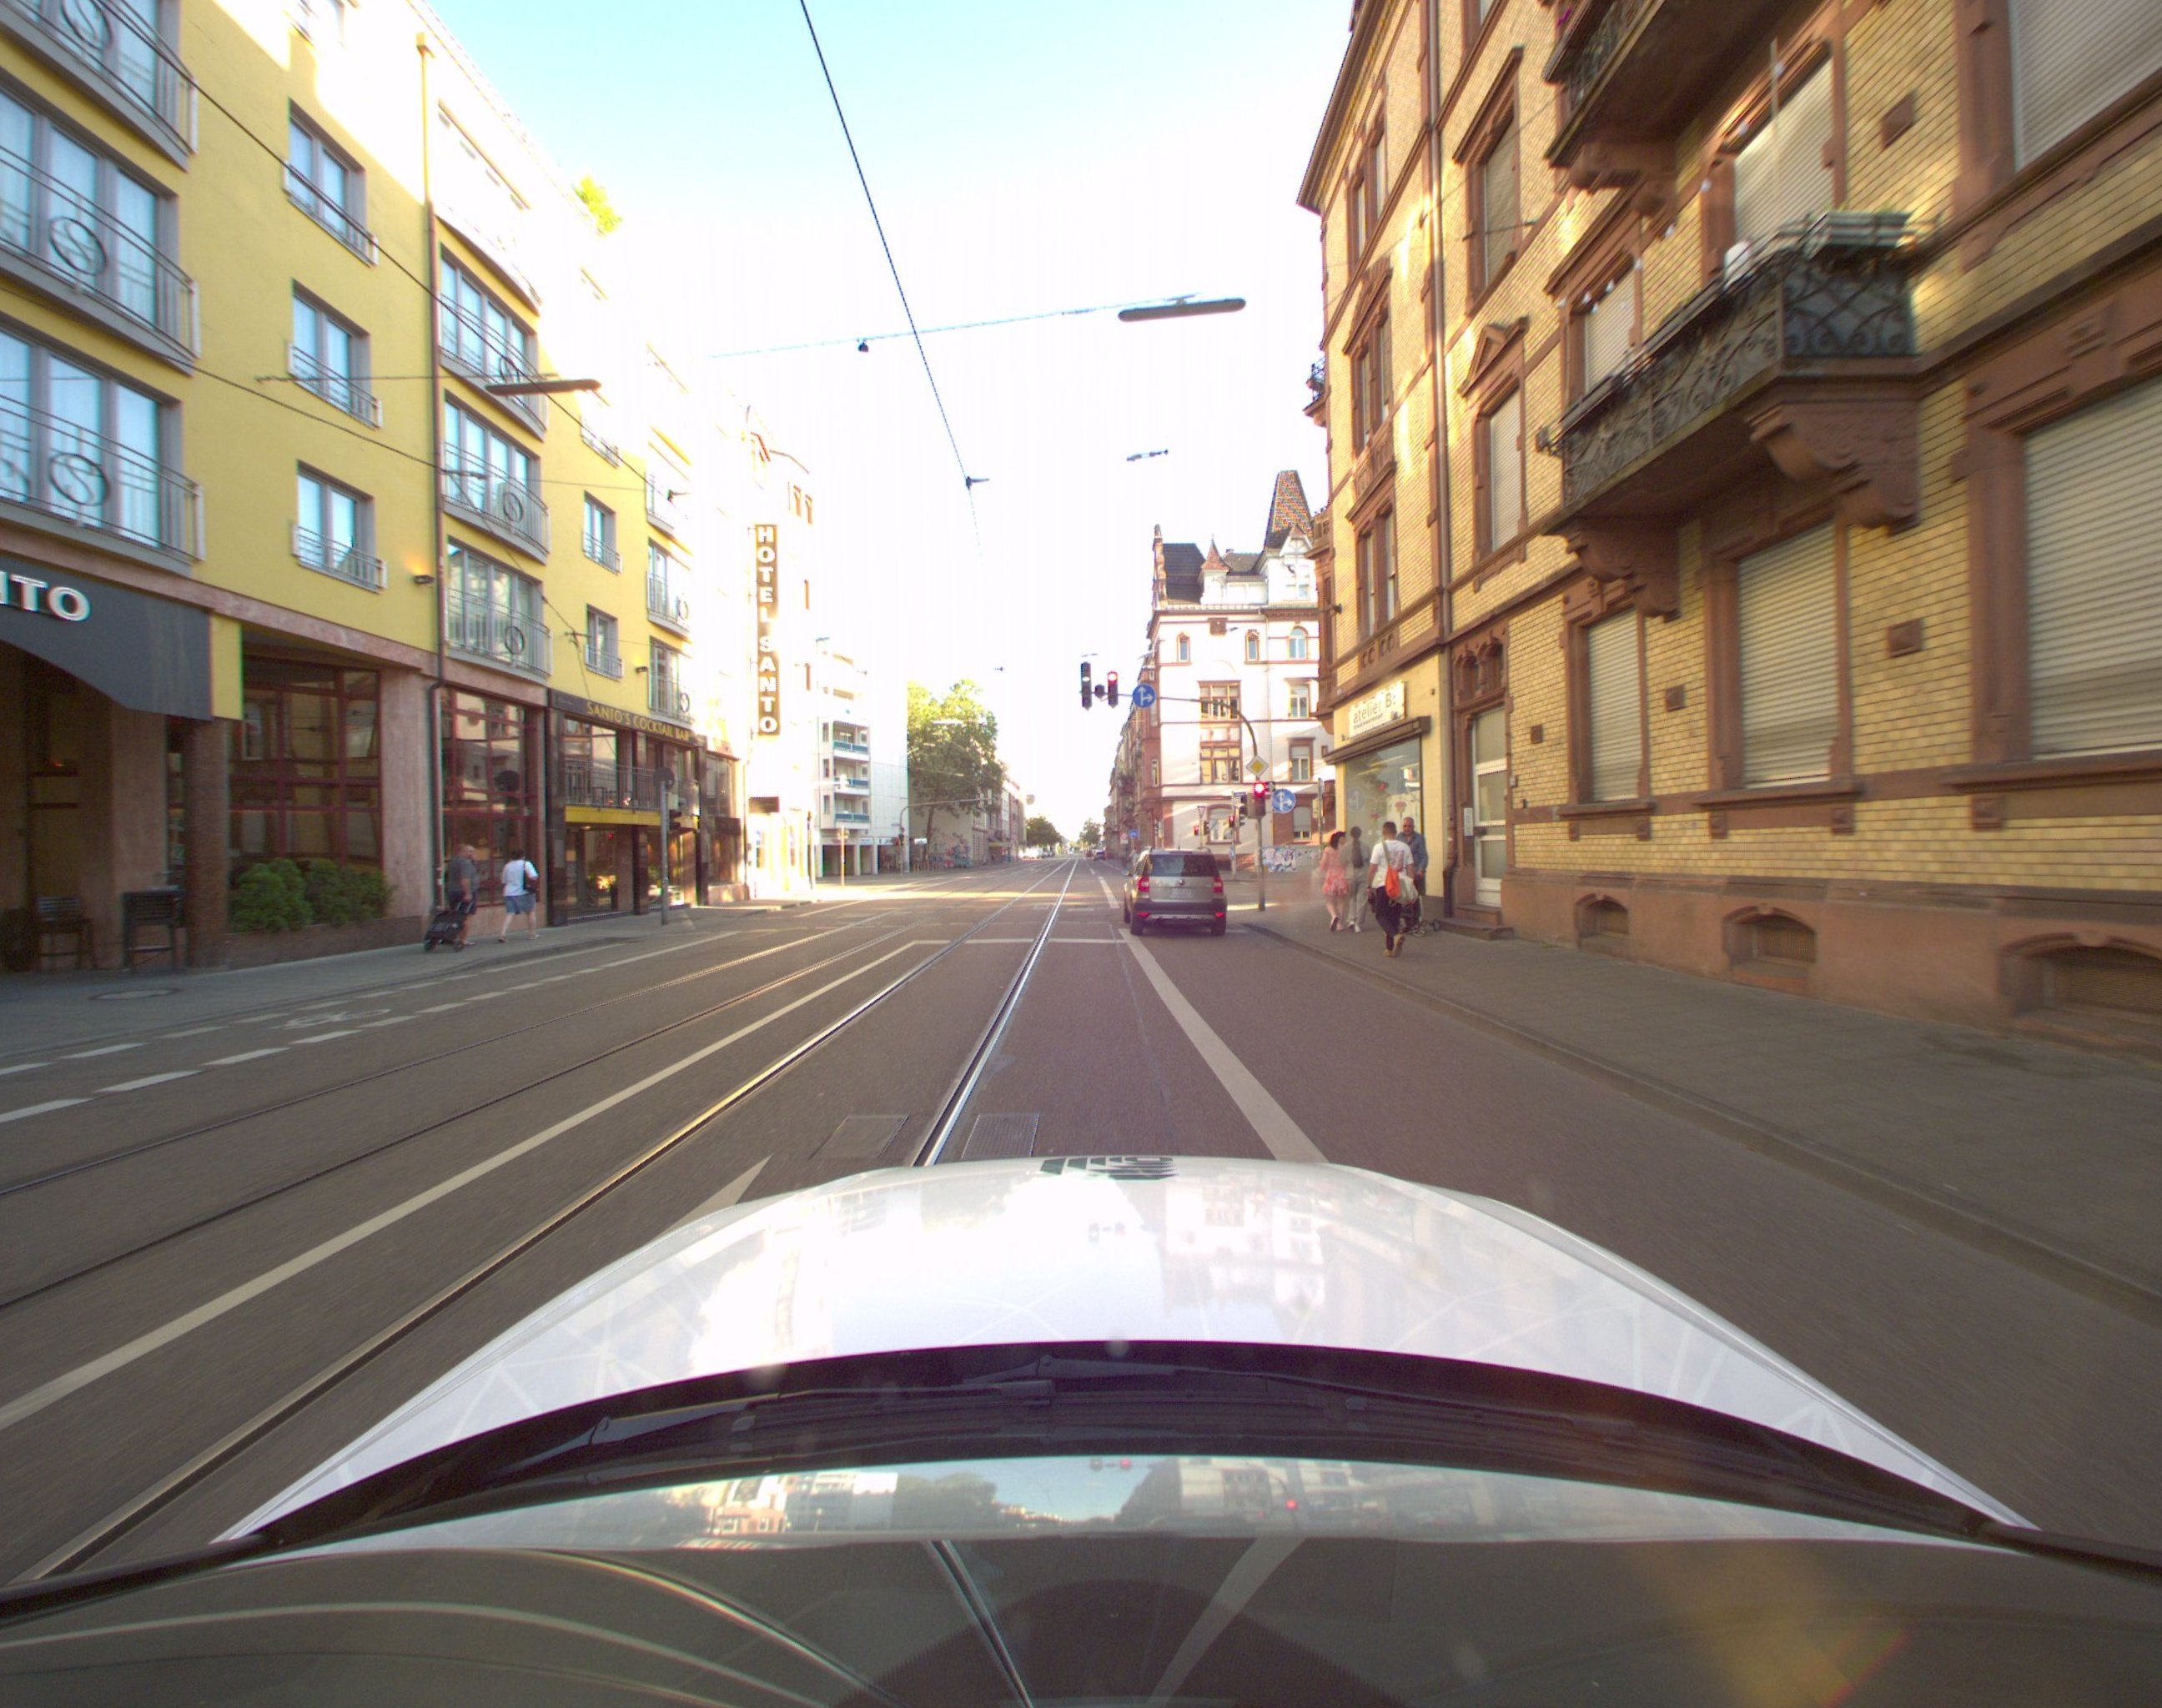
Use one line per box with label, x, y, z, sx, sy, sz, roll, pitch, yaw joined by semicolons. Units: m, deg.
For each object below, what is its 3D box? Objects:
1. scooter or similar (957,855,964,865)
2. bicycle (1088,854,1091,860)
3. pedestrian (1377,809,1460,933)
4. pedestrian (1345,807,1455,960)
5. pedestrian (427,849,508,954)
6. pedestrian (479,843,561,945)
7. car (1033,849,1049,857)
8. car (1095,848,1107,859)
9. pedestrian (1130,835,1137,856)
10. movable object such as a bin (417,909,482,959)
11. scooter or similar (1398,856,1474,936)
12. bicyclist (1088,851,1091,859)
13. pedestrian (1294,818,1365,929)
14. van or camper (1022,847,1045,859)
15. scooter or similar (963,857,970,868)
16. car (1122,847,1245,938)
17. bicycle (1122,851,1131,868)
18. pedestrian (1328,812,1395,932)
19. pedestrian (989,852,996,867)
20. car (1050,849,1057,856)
scooter or similar;-12.989;0.605;87.487;0.515;1.045;1.477;-2;0;-2
bicycle;1.627;0.539;157.339;0.573;1.030;1.895;-2;0;1
pedestrian;5.263;0.247;12.755;0.803;1.799;0.761;-7;1;0
pedestrian;4.101;0.347;10.549;0.803;1.799;1.091;-7;1;-1
pedestrian;-10.794;0.808;14.350;0.795;1.771;0.749;2;1;0
pedestrian;-10.528;0.725;15.320;0.749;1.818;1.046;2;1;0
car;-10.952;-0.244;222.046;4.007;2.013;1.984;-3;0;-25
car;3.312;-0.065;136.425;1.943;1.684;4.001;-2;0;1
pedestrian;4.436;-0.696;68.861;0.543;1.780;0.504;-2;0;1
movable object such as a bin;-10.470;1.313;13.526;0.382;0.716;0.841;2;1;1
scooter or similar;5.270;0.615;12.114;0.803;1.070;0.521;-7;0;0
bicyclist;1.607;0.165;157.332;0.573;1.553;0.595;-2;0;1
pedestrian;4.306;0.323;14.171;0.803;1.799;0.761;-7;1;-2
van or camper;-10.898;-0.336;186.450;4.665;2.563;1.980;-2;0;-31
scooter or similar;-12.298;0.898;87.530;0.515;1.057;1.477;-2;0;-2
car;1.929;0.669;16.501;1.987;1.618;3.999;0;1;0
bicycle;3.736;0.421;67.278;0.651;1.323;2.178;-2;0;3
pedestrian;4.691;0.288;13.653;0.689;1.908;0.670;-7;1;-2
pedestrian;-10.438;0.696;96.168;0.699;1.728;0.647;-3;0;0
car;-8.344;-0.395;248.009;1.987;2.013;3.999;-2;0;-1
